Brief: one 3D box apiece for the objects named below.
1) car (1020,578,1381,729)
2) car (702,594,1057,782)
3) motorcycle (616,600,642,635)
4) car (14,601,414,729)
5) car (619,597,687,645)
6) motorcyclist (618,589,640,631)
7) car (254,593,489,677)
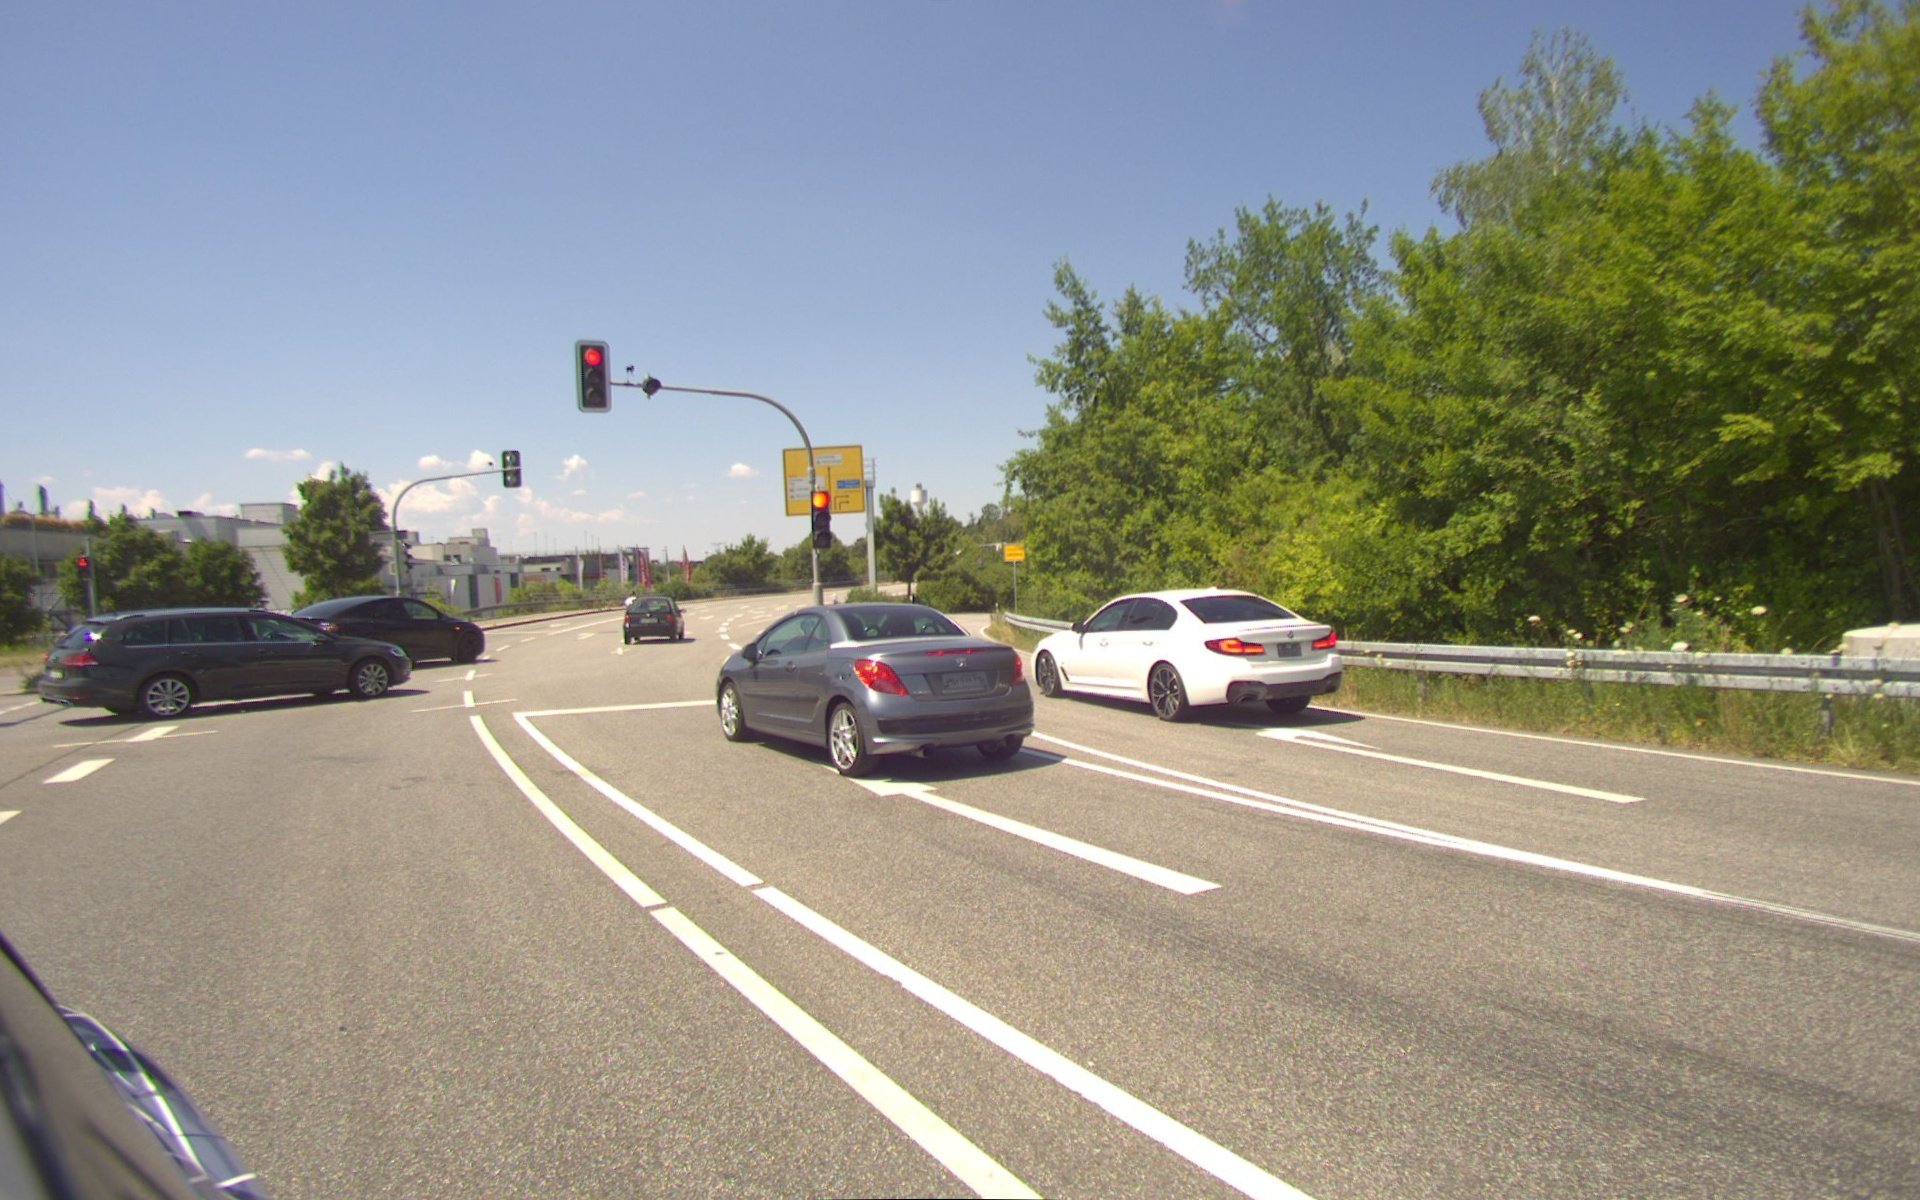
[{"bbox_3d":[2.675,0.539,12.649,1.812,1.495,4.853,-1,0,-23],"label":"car"},{"bbox_3d":[-0.970,0.667,9.509,1.623,1.362,3.979,0,-1,-33],"label":"car"},{"bbox_3d":[-12.512,0.638,38.305,0.569,1.247,1.944,-2,1,-8],"label":"motorcycle"},{"bbox_3d":[-10.668,0.807,14.808,1.780,1.493,4.375,0,1,36],"label":"car"},{"bbox_3d":[-9.672,0.625,32.100,1.598,1.418,3.307,-1,0,-9],"label":"car"},{"bbox_3d":[-12.504,0.374,38.227,0.603,1.551,0.848,-2,1,-8],"label":"motorcyclist"},{"bbox_3d":[-12.806,0.684,22.401,1.864,1.613,4.482,0,1,16],"label":"car"}]
